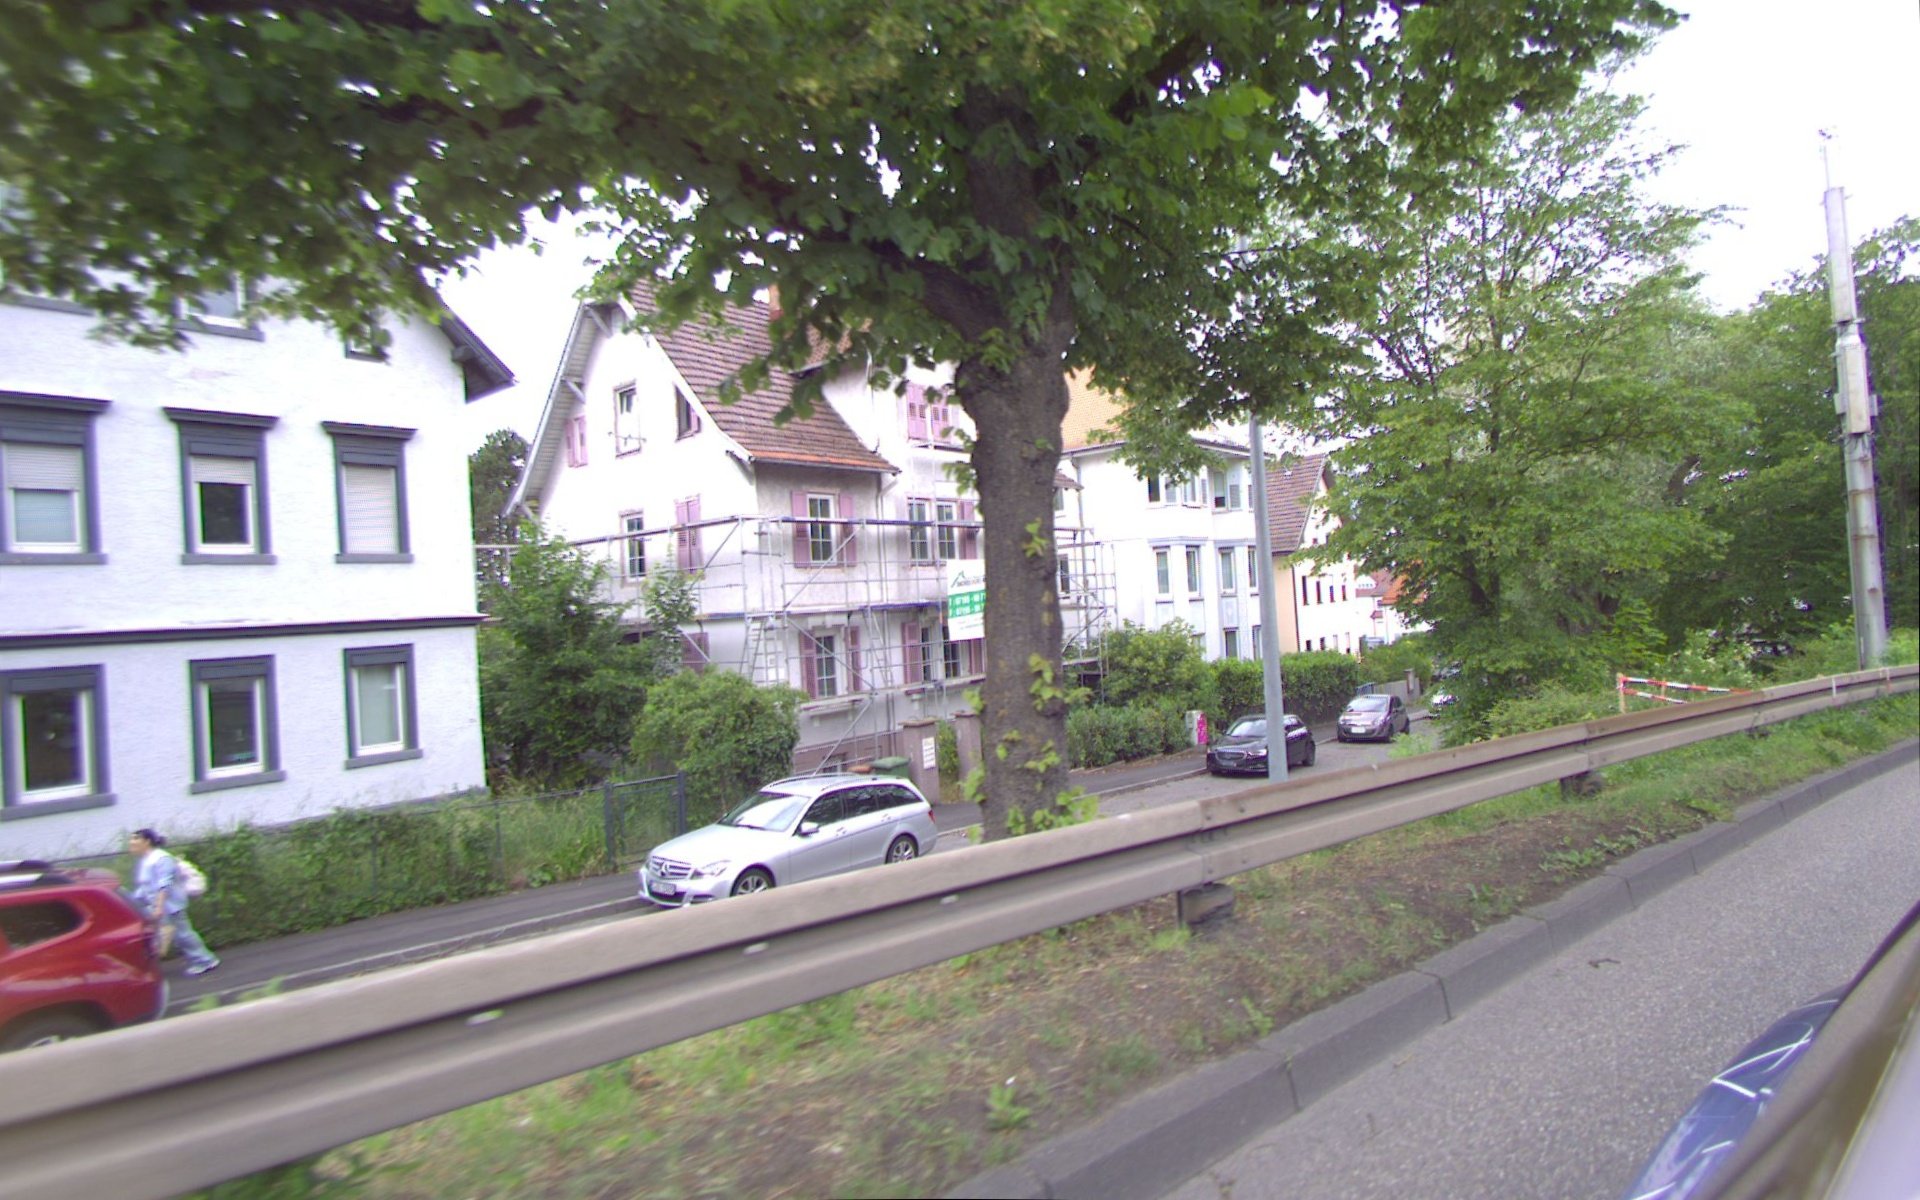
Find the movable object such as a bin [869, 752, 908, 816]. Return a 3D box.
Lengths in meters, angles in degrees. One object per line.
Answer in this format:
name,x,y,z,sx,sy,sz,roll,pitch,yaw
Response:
movable object such as a bin,-1.397,3.574,19.736,0.529,1.093,0.579,1,-1,-44

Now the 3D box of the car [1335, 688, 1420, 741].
car,14.000,3.765,33.811,1.614,1.467,3.974,-4,-4,37

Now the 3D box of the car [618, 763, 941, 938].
car,-2.288,3.233,13.867,1.615,1.460,4.369,-5,-4,39

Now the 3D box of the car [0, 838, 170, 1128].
car,-8.122,2.875,6.810,1.778,1.692,4.142,-5,-4,39

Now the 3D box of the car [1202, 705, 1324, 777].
car,7.929,3.585,26.295,1.615,1.467,3.999,-5,-4,39

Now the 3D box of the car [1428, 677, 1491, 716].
car,21.114,4.034,42.733,1.641,1.413,3.718,-4,-4,37

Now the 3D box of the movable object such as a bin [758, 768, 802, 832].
movable object such as a bin,-3.204,3.548,18.040,0.571,0.982,0.537,1,-1,-44

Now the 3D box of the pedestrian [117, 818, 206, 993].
pedestrian,-7.916,2.990,10.034,0.617,1.500,0.580,-5,-4,41

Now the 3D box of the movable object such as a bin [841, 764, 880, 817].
movable object such as a bin,-1.969,3.751,19.975,0.571,0.894,0.537,1,-1,-44
